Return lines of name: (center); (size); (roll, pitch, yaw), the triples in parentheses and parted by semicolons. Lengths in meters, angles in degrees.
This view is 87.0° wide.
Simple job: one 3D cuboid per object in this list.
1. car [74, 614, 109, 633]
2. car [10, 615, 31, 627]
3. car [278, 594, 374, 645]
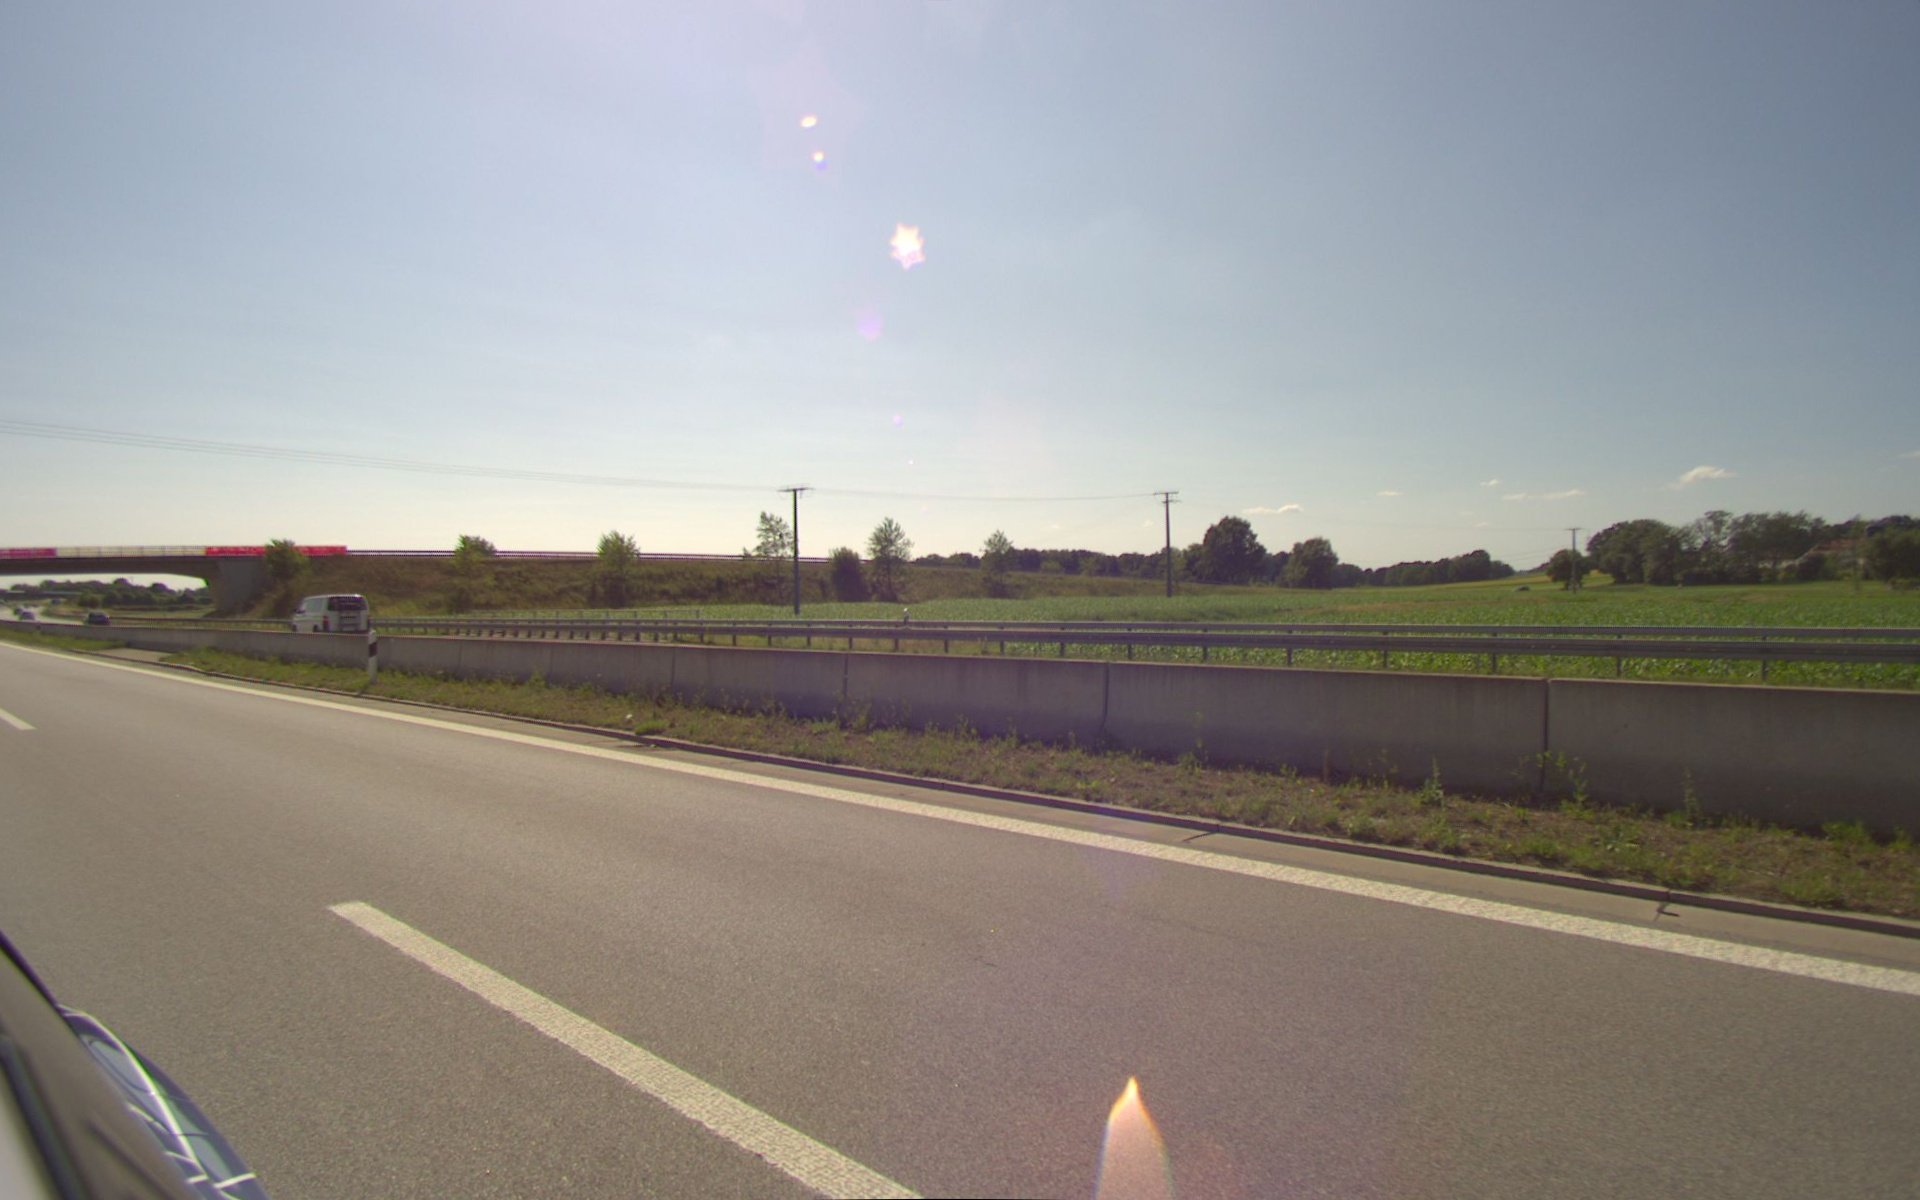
car: (-78.419, 2.116, 91.355); (4.585, 1.525, 1.839); (-1, 1, 43)
car: (-143.622, 3.201, 154.649); (4.897, 1.590, 1.972); (0, 2, 43)
car: (-27.067, 0.774, 43.131); (5.612, 2.029, 1.972); (0, 0, 42)
